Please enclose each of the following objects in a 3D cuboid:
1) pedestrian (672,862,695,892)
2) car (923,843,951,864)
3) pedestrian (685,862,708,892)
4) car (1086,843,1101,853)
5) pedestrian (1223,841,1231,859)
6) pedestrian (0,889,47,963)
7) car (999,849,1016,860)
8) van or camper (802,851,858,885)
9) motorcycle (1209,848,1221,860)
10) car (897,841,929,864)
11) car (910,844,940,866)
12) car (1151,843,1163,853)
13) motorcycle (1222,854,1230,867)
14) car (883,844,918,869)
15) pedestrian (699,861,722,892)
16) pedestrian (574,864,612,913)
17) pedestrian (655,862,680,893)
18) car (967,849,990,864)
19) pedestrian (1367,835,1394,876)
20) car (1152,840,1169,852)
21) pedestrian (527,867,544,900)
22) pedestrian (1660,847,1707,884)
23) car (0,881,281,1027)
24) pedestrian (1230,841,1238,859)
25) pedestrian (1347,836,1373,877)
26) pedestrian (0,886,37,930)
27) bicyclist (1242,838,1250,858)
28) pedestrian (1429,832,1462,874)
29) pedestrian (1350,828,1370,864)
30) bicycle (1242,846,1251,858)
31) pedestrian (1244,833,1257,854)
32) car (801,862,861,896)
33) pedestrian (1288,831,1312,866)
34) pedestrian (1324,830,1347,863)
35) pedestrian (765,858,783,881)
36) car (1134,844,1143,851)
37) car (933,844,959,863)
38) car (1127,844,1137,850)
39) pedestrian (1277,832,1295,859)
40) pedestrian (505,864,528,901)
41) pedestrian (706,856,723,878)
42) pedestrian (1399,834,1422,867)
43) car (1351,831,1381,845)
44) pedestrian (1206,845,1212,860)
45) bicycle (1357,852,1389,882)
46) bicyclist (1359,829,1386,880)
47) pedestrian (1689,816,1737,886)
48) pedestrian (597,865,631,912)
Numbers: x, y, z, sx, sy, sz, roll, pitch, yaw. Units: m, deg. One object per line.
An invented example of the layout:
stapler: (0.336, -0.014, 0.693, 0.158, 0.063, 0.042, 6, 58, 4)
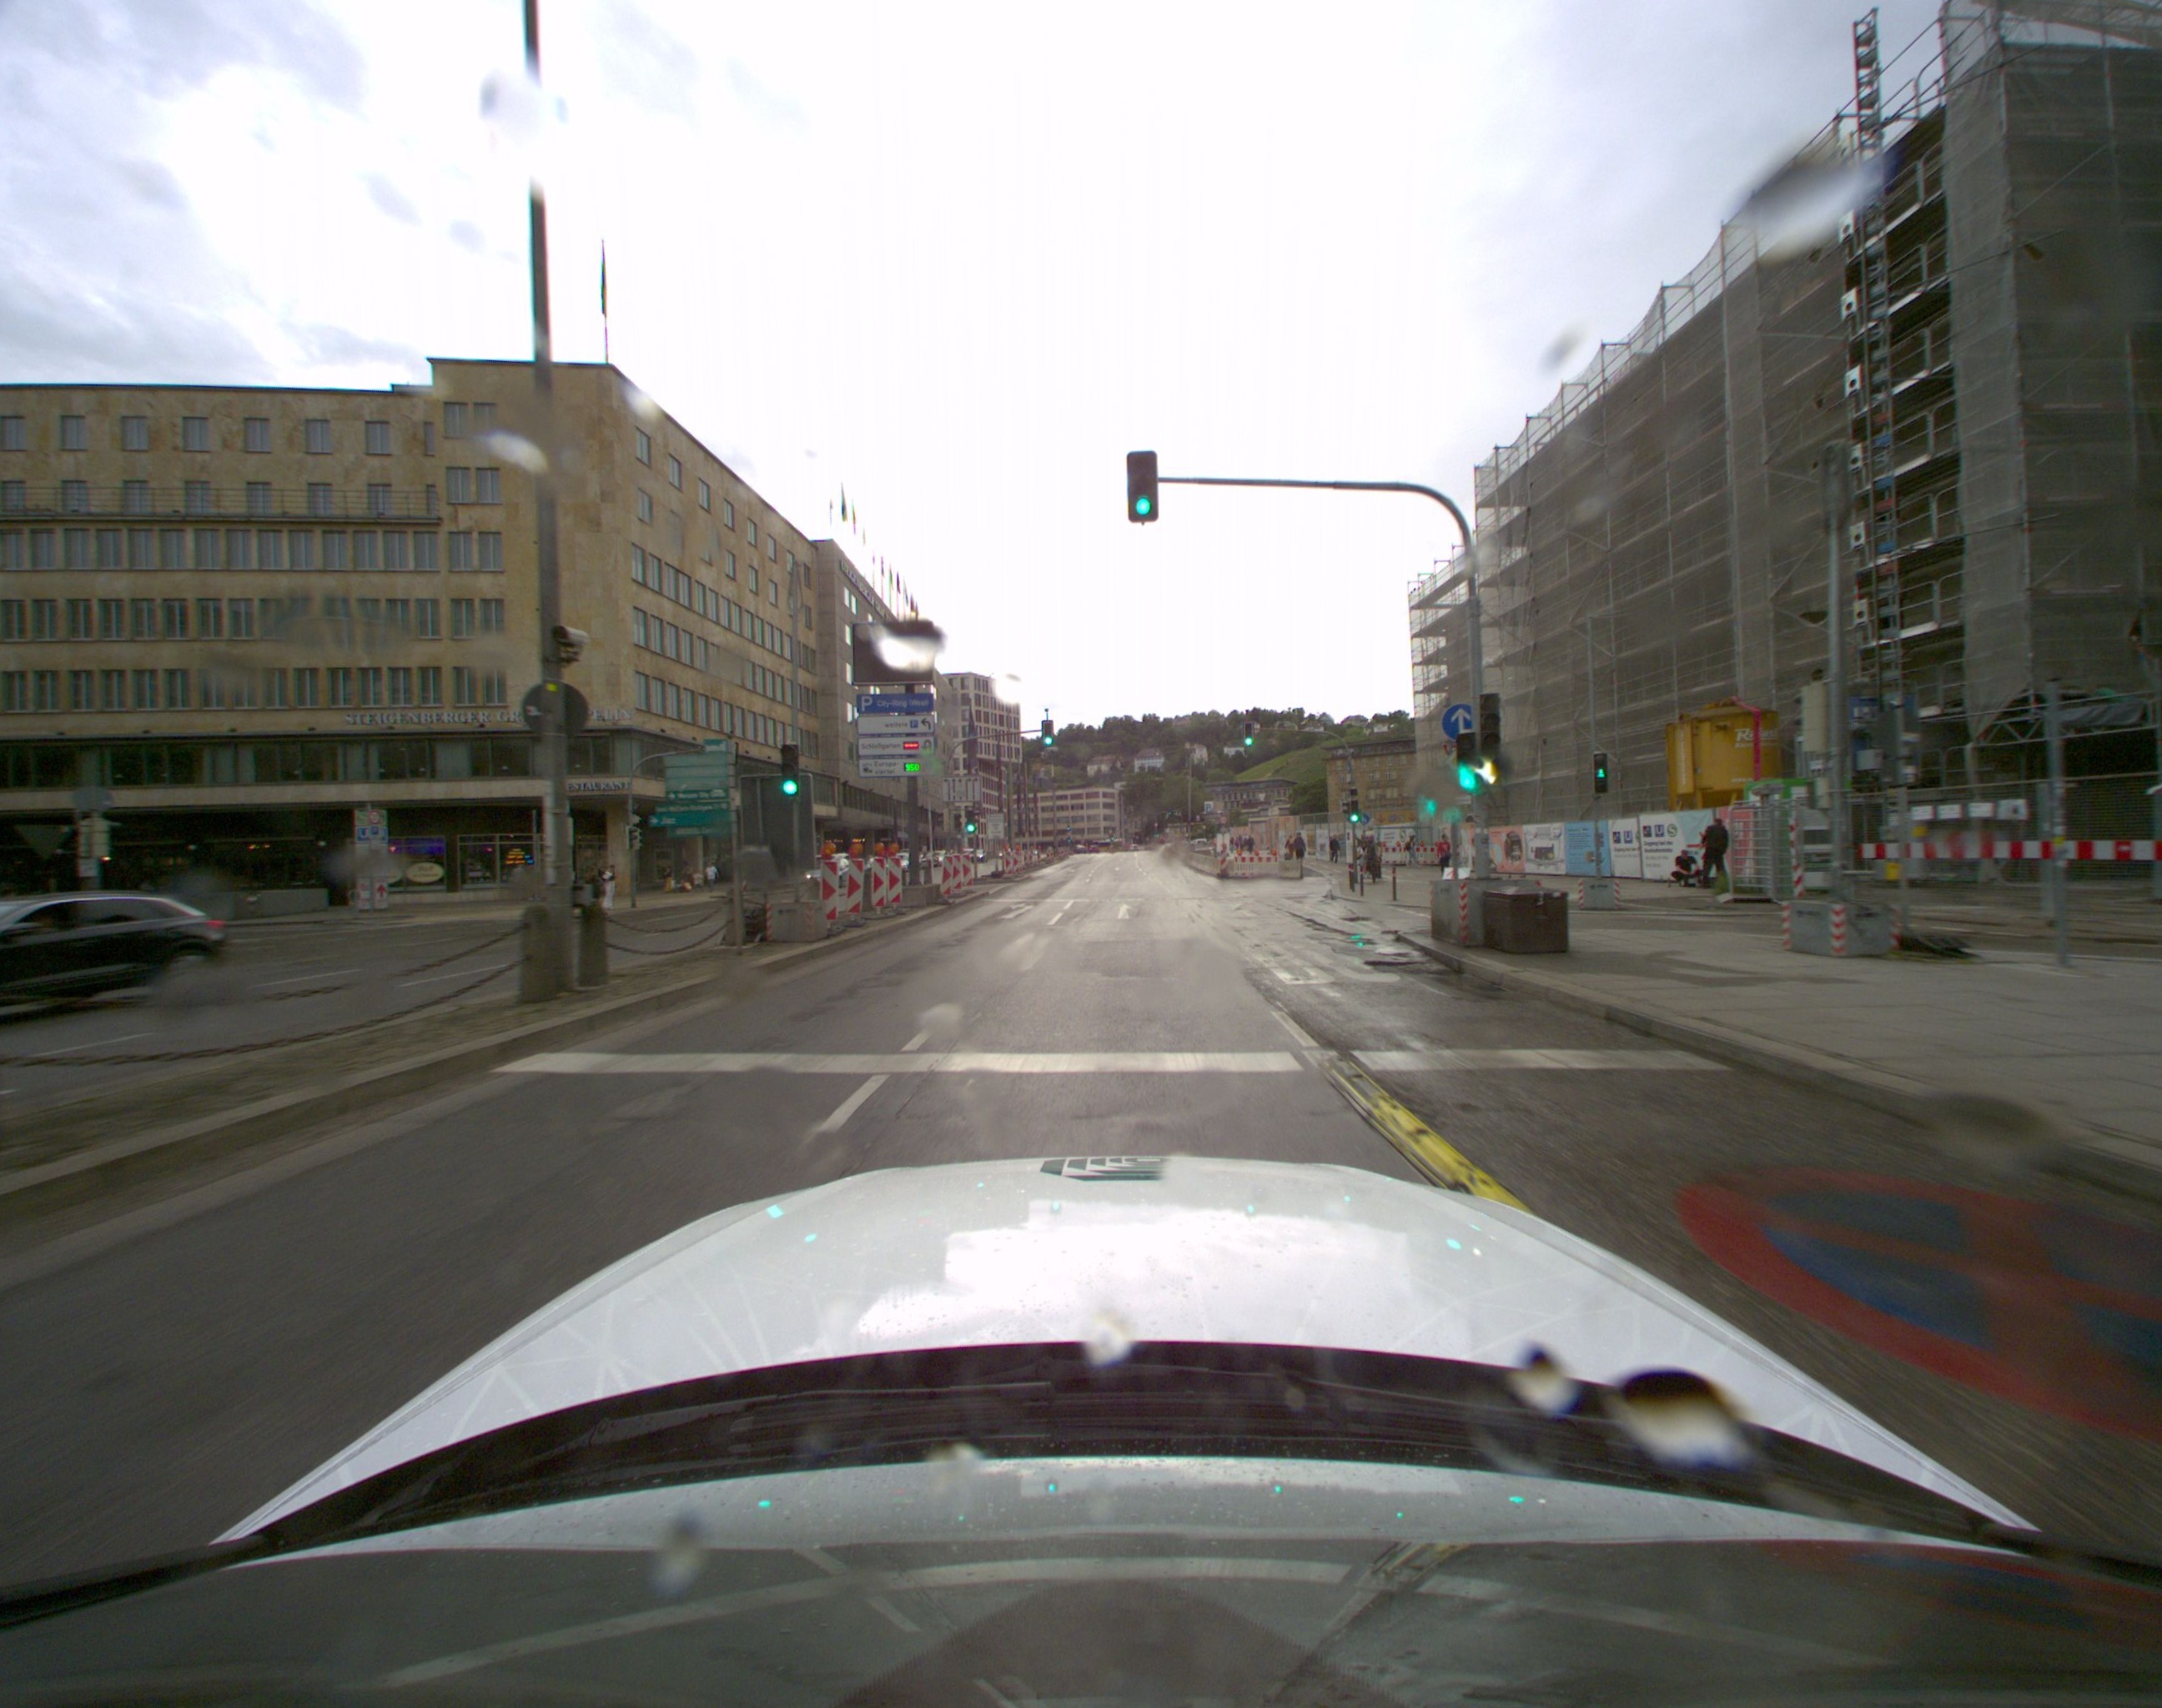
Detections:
pedestrian: (-21.250, 1.201, 43.565, 0.718, 1.557, 0.895, -2, 0, 3)
car: (-15.240, -0.058, 86.297, 1.986, 2.013, 4.002, -2, 0, 2)
pedestrian: (-20.379, 1.217, 43.198, 0.718, 1.557, 0.906, -2, 0, 3)
car: (2.187, -1.091, 147.108, 1.993, 1.552, 3.987, -2, 0, -10)
pedestrian: (14.944, -0.398, 83.469, 0.684, 1.841, 0.615, -2, 0, 6)
pedestrian: (-25.401, 1.692, 19.248, 0.698, 1.672, 0.929, -2, 0, 2)
car: (-11.023, 0.043, 122.120, 1.986, 1.618, 4.002, -3, 0, 2)
van or camper: (-16.576, 0.887, 53.995, 1.986, 2.013, 4.966, -2, 0, 1)
motorcycle: (8.063, 0.004, 49.012, 0.401, 0.682, 0.917, -1, 1, -14)
car: (-15.662, -0.110, 76.165, 1.986, 2.013, 4.002, -2, 0, 2)
car: (-15.484, 0.090, 80.817, 1.986, 2.013, 4.002, -2, 0, 2)
car: (13.044, -1.088, 139.977, 1.769, 1.639, 4.003, -3, 0, 3)
motorcycle: (8.489, 0.359, 47.638, 0.369, 0.722, 0.923, 0, 1, 4)
car: (-15.914, 0.203, 71.999, 1.986, 2.013, 4.166, -2, 0, 2)
pedestrian: (-19.636, 1.194, 43.187, 0.718, 1.557, 0.895, -2, 0, 3)
pedestrian: (-17.433, 1.226, 29.101, 0.827, 1.672, 0.706, -2, 0, 14)
pedestrian: (-22.120, 1.251, 43.572, 0.718, 1.557, 1.006, -2, 0, 3)
car: (-12.093, 0.276, 96.453, 1.986, 1.750, 4.002, -2, 0, 2)
pedestrian: (11.922, 0.047, 32.393, 0.787, 1.608, 0.841, -2, 0, 30)
car: (11.893, -1.154, 121.985, 1.987, 1.706, 4.000, -2, 0, 0)
pedestrian: (-27.827, 1.487, 41.538, 0.653, 1.644, 0.689, -2, 0, -39)
pedestrian: (15.990, 0.300, 21.624, 0.788, 0.940, 0.721, -2, 0, 20)
car: (-13.699, 1.269, 10.561, 1.986, 1.617, 4.577, -2, 0, 1)
pedestrian: (15.644, -0.443, 83.397, 0.684, 1.841, 0.615, -2, 0, 6)
pedestrian: (11.279, 0.082, 32.888, 0.787, 1.608, 0.841, -2, 0, 30)
pedestrian: (-42.991, 2.168, 32.807, 0.698, 1.672, 0.836, -2, 0, 2)
bicyclist: (16.712, -0.634, 82.414, 0.639, 2.013, 0.657, -2, 0, 5)
pedestrian: (14.253, -0.040, 31.831, 0.768, 1.608, 0.859, -2, 0, -13)
pedestrian: (14.976, -0.425, 43.734, 0.859, 1.841, 0.800, -2, 0, 11)
bicycle: (16.731, -0.191, 82.423, 0.641, 1.137, 1.767, -2, 0, 6)
pedestrian: (15.127, -0.914, 72.717, 0.941, 1.841, 0.869, -2, 0, 7)
car: (-13.446, 1.310, 43.974, 1.761, 1.609, 4.228, -2, 0, 2)
pedestrian: (11.776, -0.299, 43.863, 0.937, 1.841, 0.953, -2, 0, 32)
pedestrian: (14.560, -0.453, 46.654, 0.856, 1.841, 0.955, -3, 0, 44)
pedestrian: (-20.999, 1.028, 55.654, 0.791, 1.526, 0.917, -2, 0, 3)
car: (12.626, -1.428, 179.879, 1.813, 1.442, 4.000, 0, 1, 0)
car: (-15.047, -0.081, 91.105, 1.986, 2.013, 4.418, -2, 0, 2)
car: (12.077, -1.644, 193.510, 1.987, 1.442, 4.000, 0, 1, 0)
pedestrian: (14.171, -0.587, 56.319, 0.944, 1.841, 0.867, -2, 0, -2)
pedestrian: (-28.294, 1.436, 40.800, 0.697, 1.803, 0.756, -2, 0, -17)
pedestrian: (-25.468, 0.898, 56.579, 0.791, 1.526, 0.717, -2, 0, 3)
pedestrian: (17.192, -0.167, 42.513, 0.861, 1.661, 0.798, -2, 0, 4)
car: (43.282, -2.429, 123.599, 3.961, 2.013, 2.006, -2, 0, 10)
pedestrian: (16.490, -0.221, 105.168, 0.684, 1.841, 0.615, -2, 0, 6)
bicycle: (10.838, 0.457, 30.253, 0.703, 1.049, 1.809, -1, 1, 6)
bicyclist: (10.826, 0.015, 30.283, 0.700, 1.845, 0.969, -1, 0, 6)
pedestrian: (15.674, -0.072, 20.218, 0.698, 1.672, 0.801, -2, 0, 22)
pedestrian: (-17.199, 1.248, 30.012, 0.753, 1.672, 0.700, -2, 0, 14)
